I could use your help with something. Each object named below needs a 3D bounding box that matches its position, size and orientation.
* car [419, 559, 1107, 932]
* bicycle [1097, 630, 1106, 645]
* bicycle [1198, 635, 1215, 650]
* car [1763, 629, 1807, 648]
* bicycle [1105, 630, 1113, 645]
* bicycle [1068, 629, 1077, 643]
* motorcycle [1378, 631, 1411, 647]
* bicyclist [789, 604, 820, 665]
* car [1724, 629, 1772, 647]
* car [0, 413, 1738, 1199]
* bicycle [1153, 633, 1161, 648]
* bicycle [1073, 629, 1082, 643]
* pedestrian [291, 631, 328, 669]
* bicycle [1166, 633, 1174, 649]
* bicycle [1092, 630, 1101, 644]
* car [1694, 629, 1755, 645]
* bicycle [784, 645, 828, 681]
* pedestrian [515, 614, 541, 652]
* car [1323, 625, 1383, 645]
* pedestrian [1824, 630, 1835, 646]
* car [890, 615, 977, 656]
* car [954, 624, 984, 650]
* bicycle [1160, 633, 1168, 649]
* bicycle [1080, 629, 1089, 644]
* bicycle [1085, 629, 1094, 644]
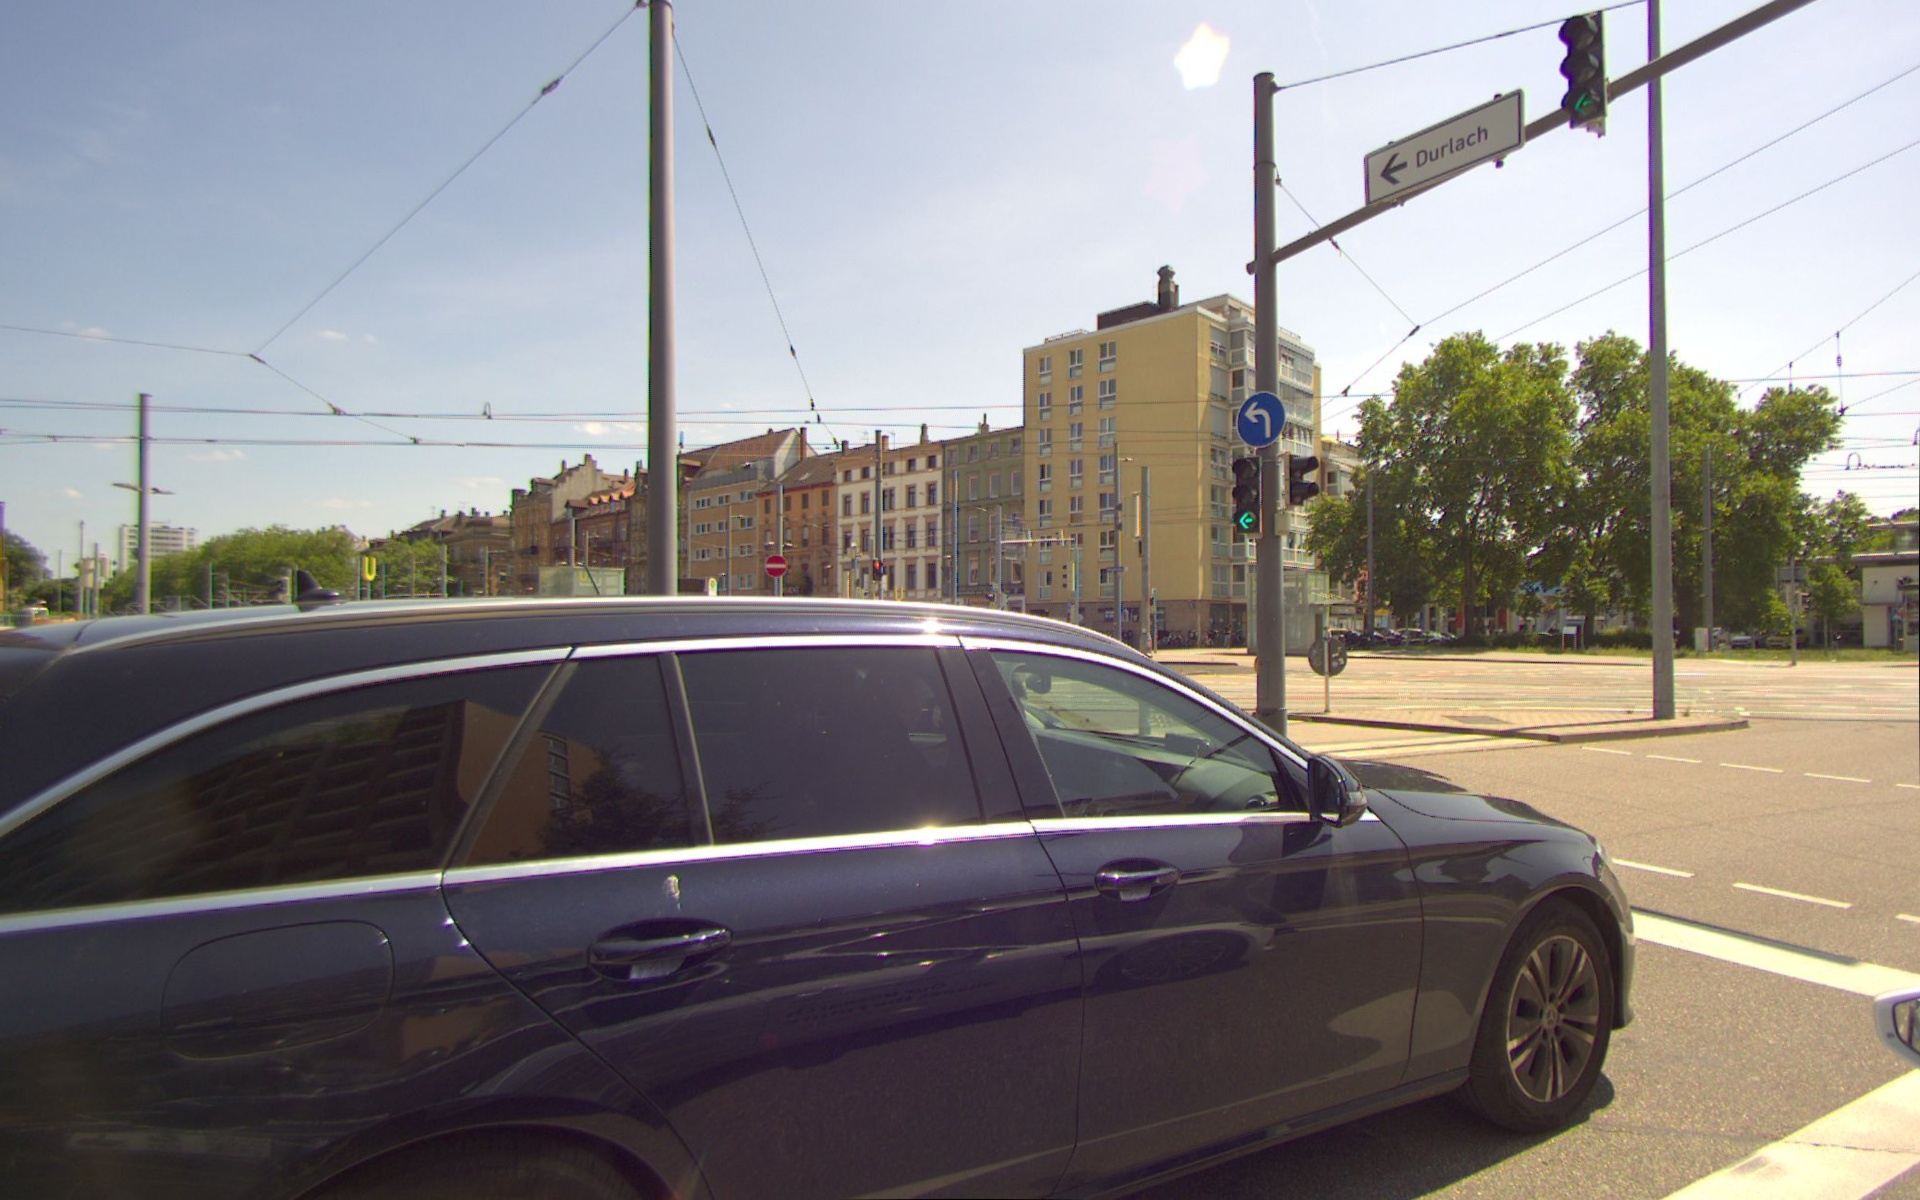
[{"bbox_3d":[-1.119,0.669,5.995,3.692,1.597,1.736,1,-2,-30],"label":"car"},{"bbox_3d":[10.213,2.690,72.543,0.424,1.040,1.445,0,-1,16],"label":"bicycle"},{"bbox_3d":[16.741,2.873,68.260,0.427,1.040,1.435,-1,-2,44],"label":"bicycle"},{"bbox_3d":[69.161,3.228,84.202,4.283,1.530,1.756,1,-2,-35],"label":"car"},{"bbox_3d":[10.730,2.705,72.284,0.424,1.040,1.445,0,-1,16],"label":"bicycle"},{"bbox_3d":[8.325,2.640,74.322,0.424,1.040,1.445,0,-1,16],"label":"bicycle"},{"bbox_3d":[27.552,2.449,63.688,1.887,0.974,0.524,-1,-1,31],"label":"motorcycle"},{"bbox_3d":[-4.111,0.892,26.541,0.433,1.549,1.245,2,0,-26],"label":"bicyclist"},{"bbox_3d":[68.202,3.253,86.889,4.274,1.530,1.759,1,-2,-29],"label":"car"},{"bbox_3d":[-0.024,0.641,2.803,4.747,1.662,1.789,1,0,-30],"label":"car"},{"bbox_3d":[13.583,2.777,69.107,0.424,1.040,1.445,0,-1,16],"label":"bicycle"},{"bbox_3d":[8.667,2.649,73.983,0.424,1.040,1.445,0,-1,16],"label":"bicycle"},{"bbox_3d":[-23.515,1.795,36.306,0.978,1.352,0.527,0,-1,2],"label":"pedestrian"},{"bbox_3d":[14.327,2.797,68.530,0.424,1.040,1.445,0,-1,16],"label":"bicycle"},{"bbox_3d":[9.897,2.682,72.941,0.424,1.040,1.445,0,-1,16],"label":"bicycle"},{"bbox_3d":[70.890,3.422,93.218,4.245,1.530,1.771,-1,-2,26],"label":"car"},{"bbox_3d":[-4.067,1.628,26.367,0.620,0.866,1.887,1,-2,-26],"label":"bicycle"},{"bbox_3d":[-21.135,1.598,49.156,1.114,1.837,0.677,-1,-2,38],"label":"pedestrian"},{"bbox_3d":[29.740,2.648,76.041,3.935,1.439,1.993,-1,-2,36],"label":"car"},{"bbox_3d":[68.197,2.975,78.748,0.439,1.220,0.511,1,-1,-24],"label":"pedestrian"},{"bbox_3d":[-1.454,1.905,53.955,1.987,2.084,4.807,1,-2,-44],"label":"car"},{"bbox_3d":[0.604,2.571,70.364,1.803,1.773,3.998,0,-1,-4],"label":"car"},{"bbox_3d":[13.957,2.787,68.795,0.424,1.040,1.445,0,-1,16],"label":"bicycle"},{"bbox_3d":[9.094,2.660,73.546,0.424,1.040,1.445,0,-1,16],"label":"bicycle"},{"bbox_3d":[9.455,2.670,73.237,0.424,1.040,1.445,0,-1,16],"label":"bicycle"}]
